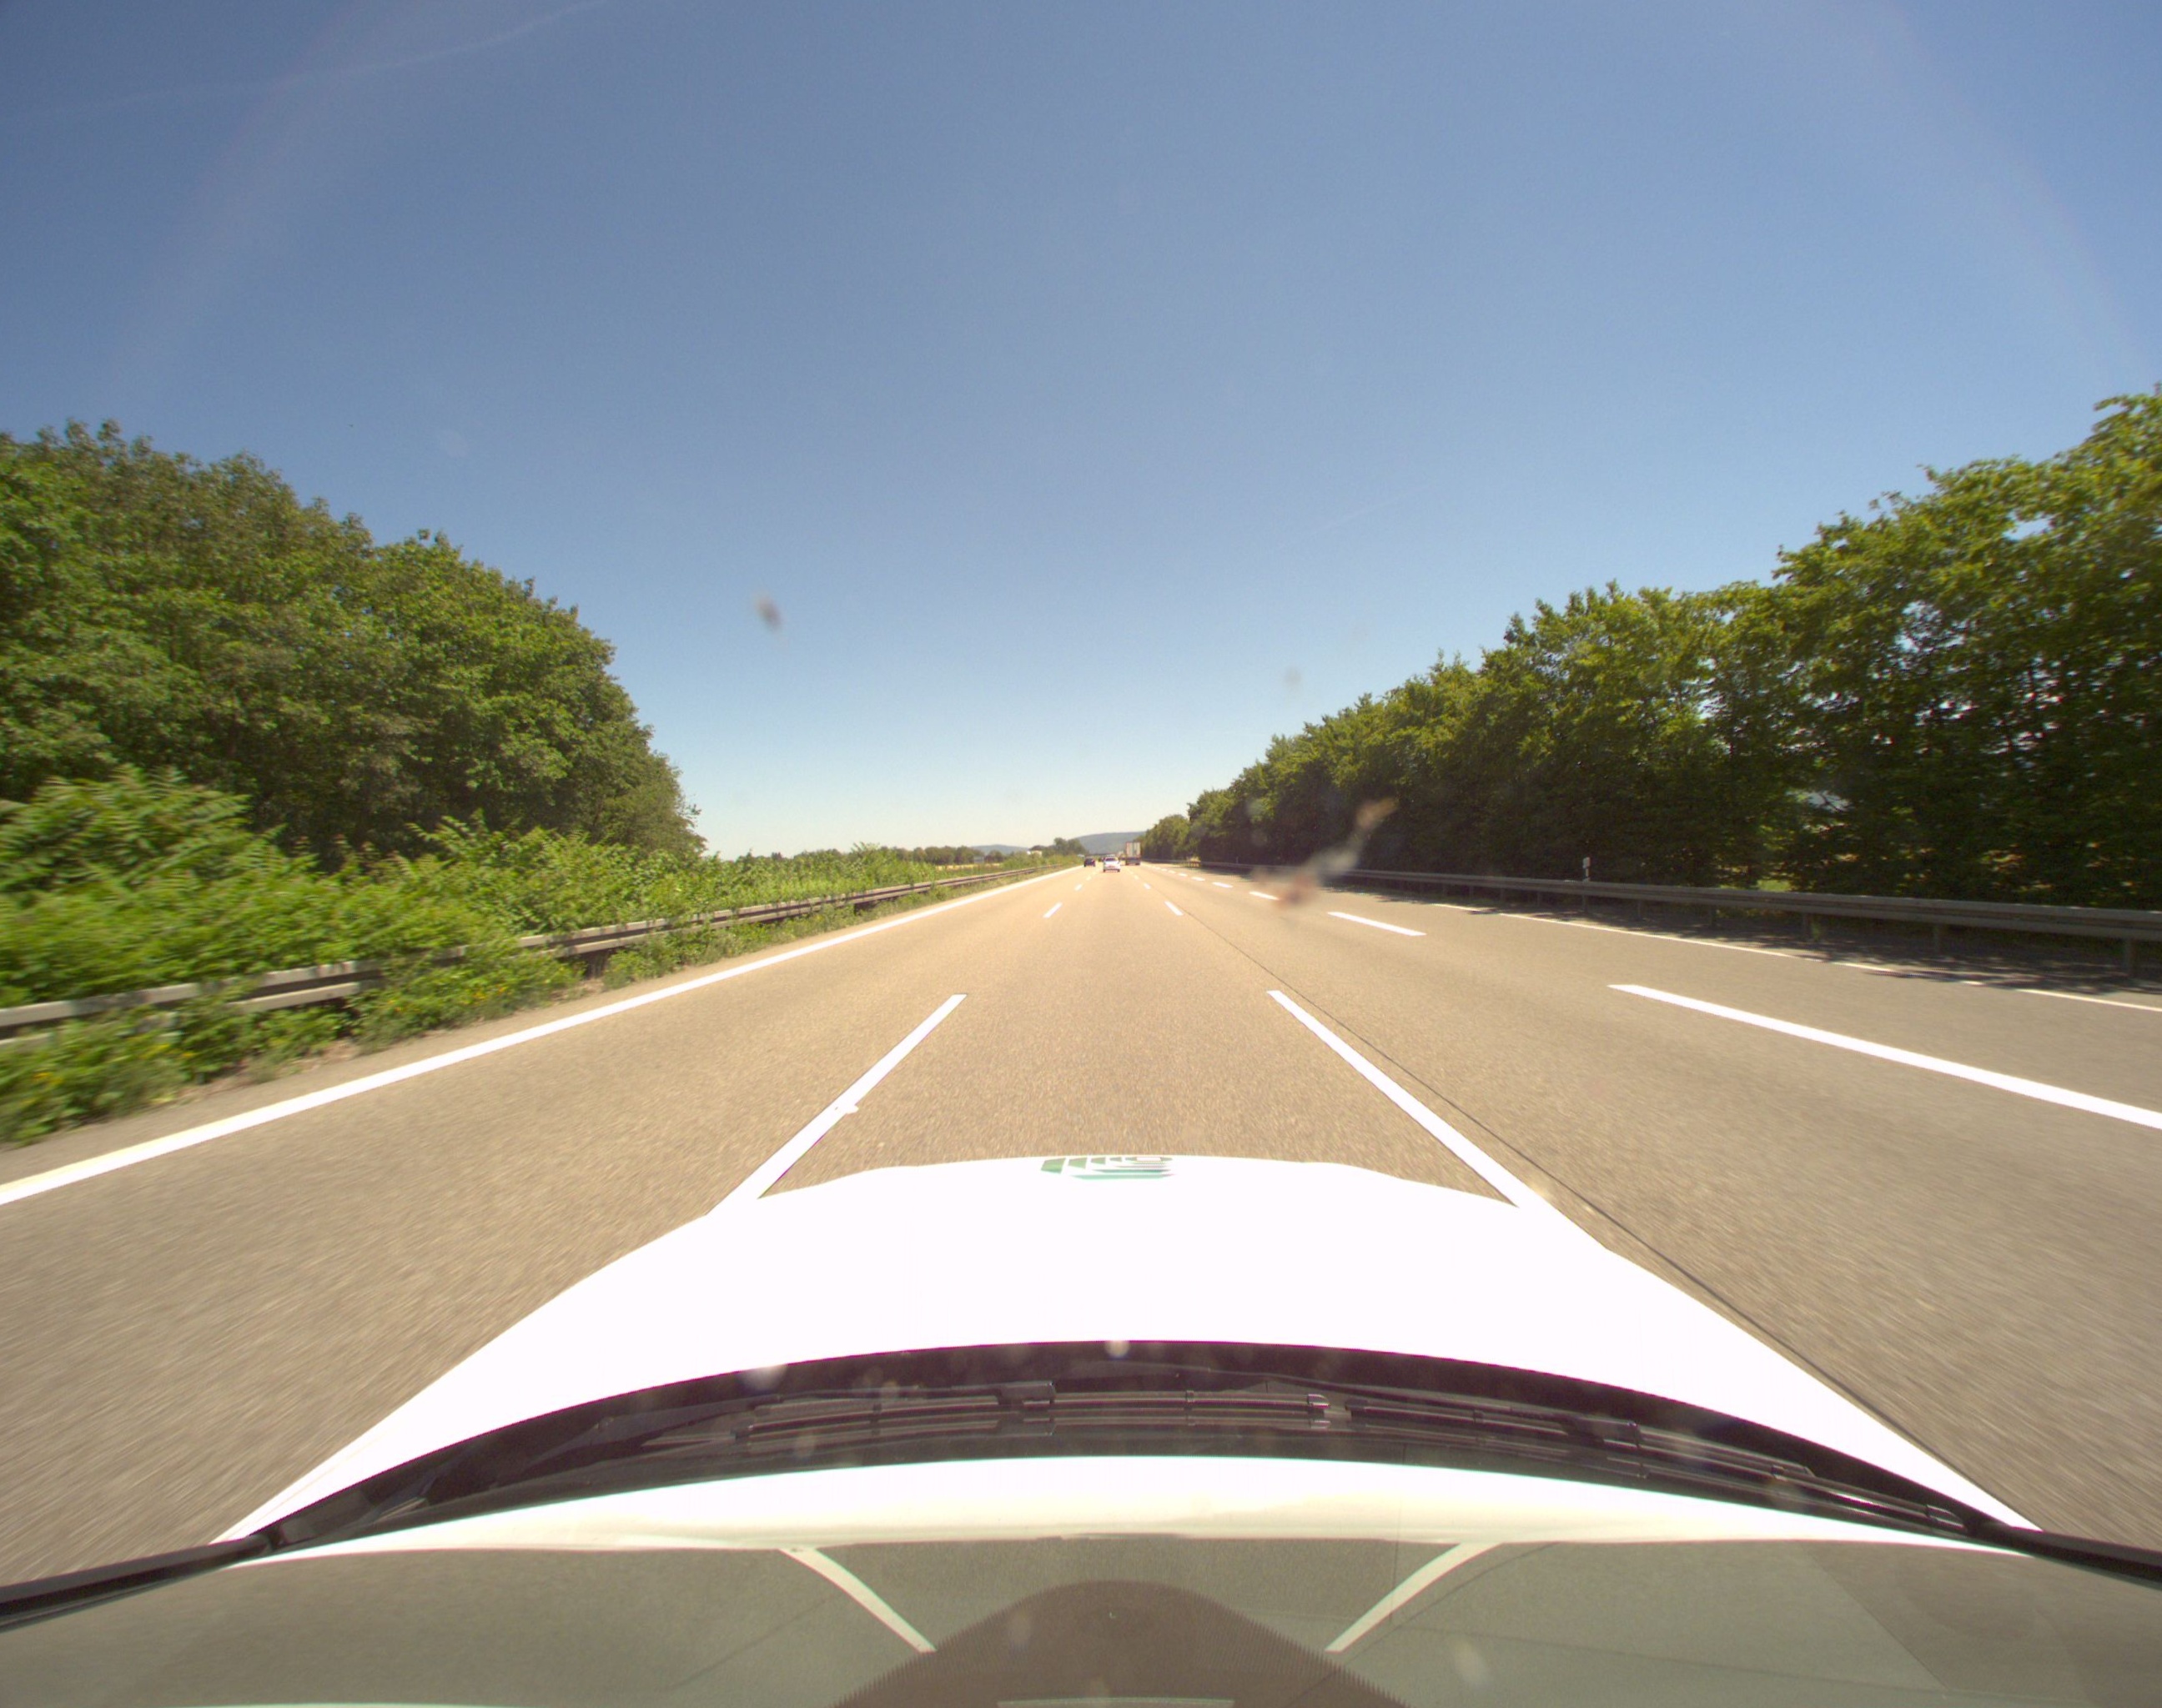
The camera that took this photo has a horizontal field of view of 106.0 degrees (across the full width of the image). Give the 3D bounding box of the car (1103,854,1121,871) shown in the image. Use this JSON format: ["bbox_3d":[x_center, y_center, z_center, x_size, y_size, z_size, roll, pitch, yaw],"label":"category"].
[{"bbox_3d":[3.145,0.838,82.641,1.726,1.684,4.001,-2,0,1],"label":"car"}]

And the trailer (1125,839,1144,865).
[{"bbox_3d":[9.600,-0.276,145.631,3.203,4.345,13.645,0,0,5],"label":"trailer"}]

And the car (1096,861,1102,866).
[{"bbox_3d":[5.255,2.722,239.889,1.788,1.551,4.002,-1,-1,2],"label":"car"}]

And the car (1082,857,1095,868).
[{"bbox_3d":[1.255,1.411,130.507,1.986,1.712,4.001,0,0,1],"label":"car"}]

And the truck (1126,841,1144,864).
[{"bbox_3d":[10.214,-0.238,153.209,3.203,4.345,6.598,0,0,4],"label":"truck"}]
